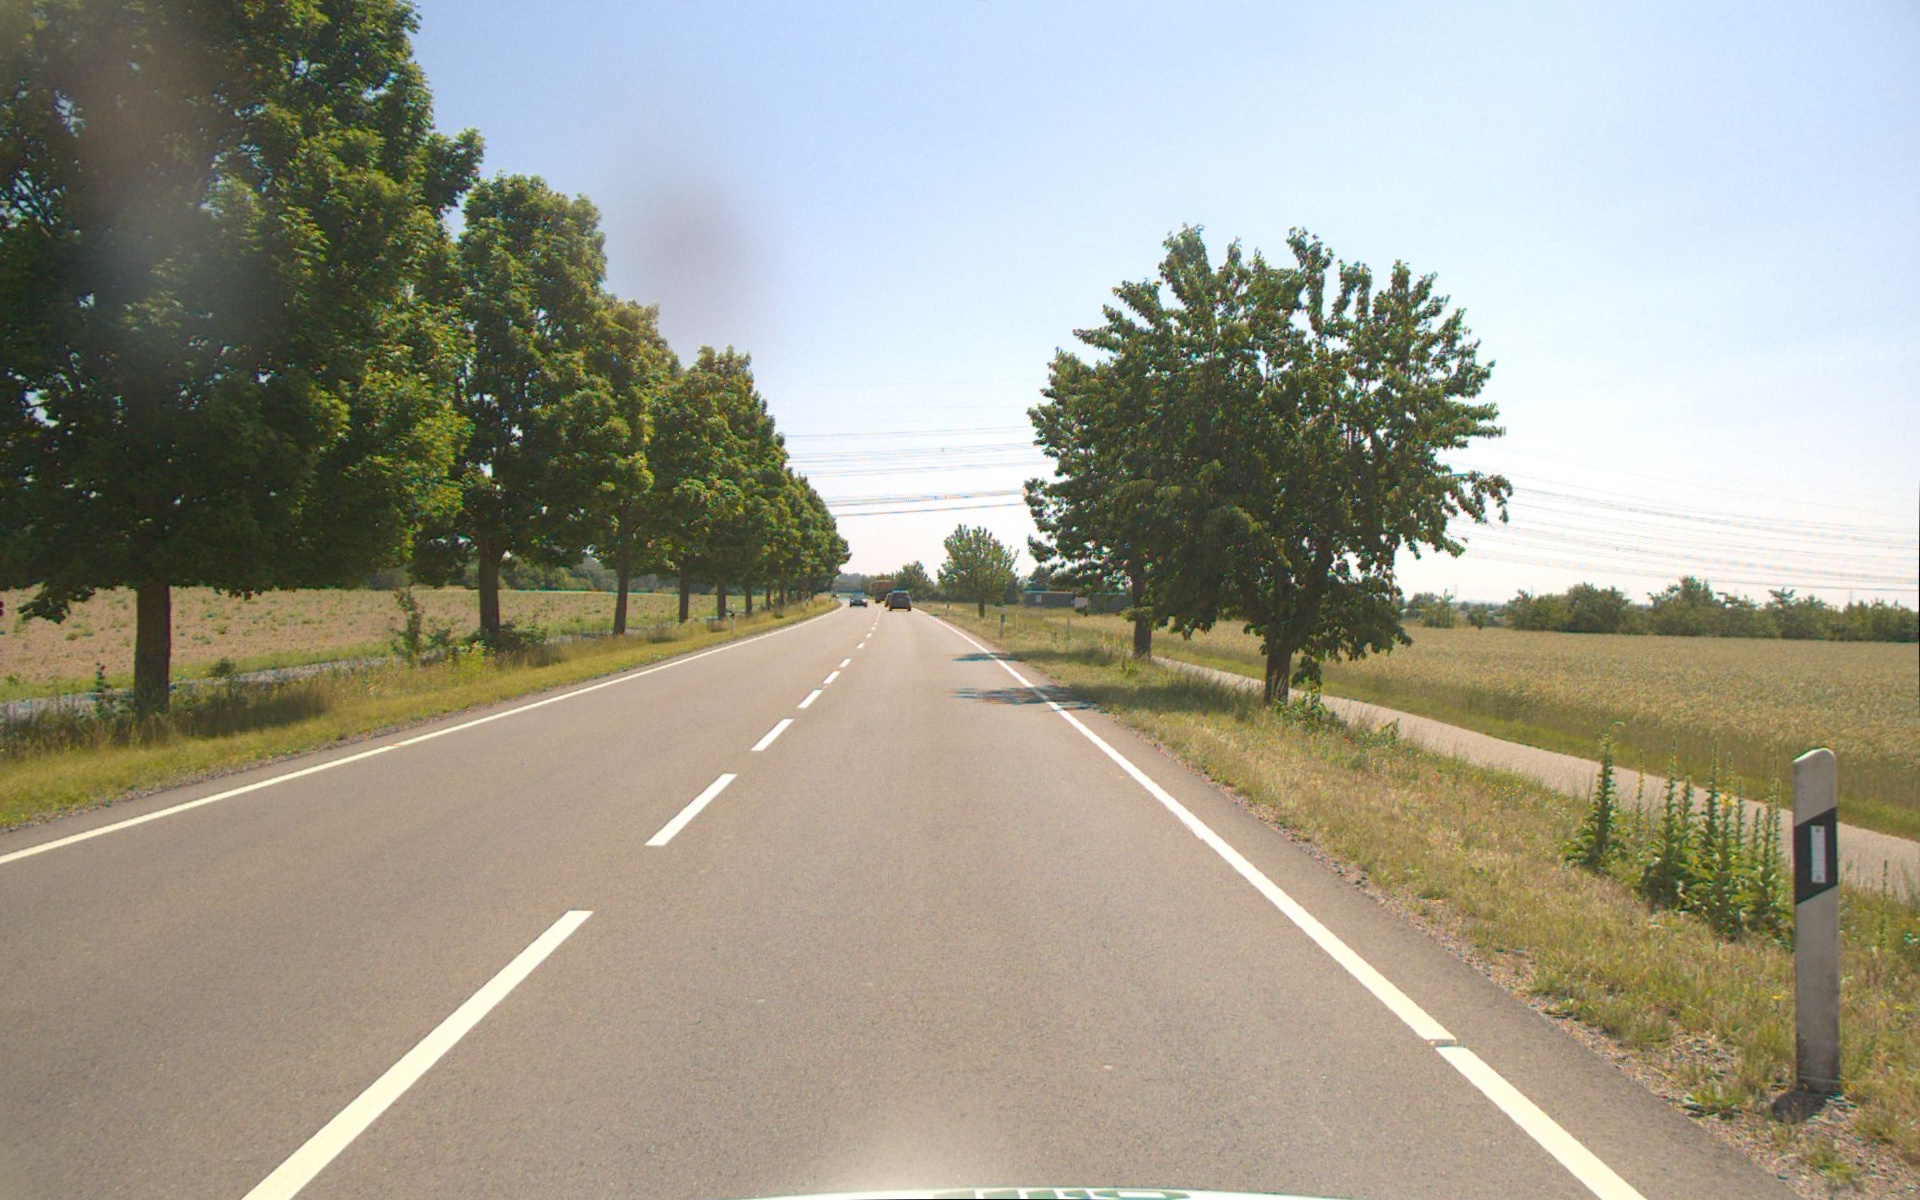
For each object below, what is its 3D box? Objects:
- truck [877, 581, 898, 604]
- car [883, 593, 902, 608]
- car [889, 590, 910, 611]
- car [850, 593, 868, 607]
[{"bbox_3d":[-10.459,-1.111,238.407,2.325,3.194,8.735,2,0,-7],"label":"truck"},{"bbox_3d":[-7.388,0.057,179.881,1.815,1.549,3.995,1,0,-6],"label":"car"},{"bbox_3d":[-5.168,0.051,141.366,1.681,1.723,3.985,1,0,-4],"label":"car"},{"bbox_3d":[-10.554,0.007,172.101,1.786,1.445,4.585,1,0,-4],"label":"car"}]
